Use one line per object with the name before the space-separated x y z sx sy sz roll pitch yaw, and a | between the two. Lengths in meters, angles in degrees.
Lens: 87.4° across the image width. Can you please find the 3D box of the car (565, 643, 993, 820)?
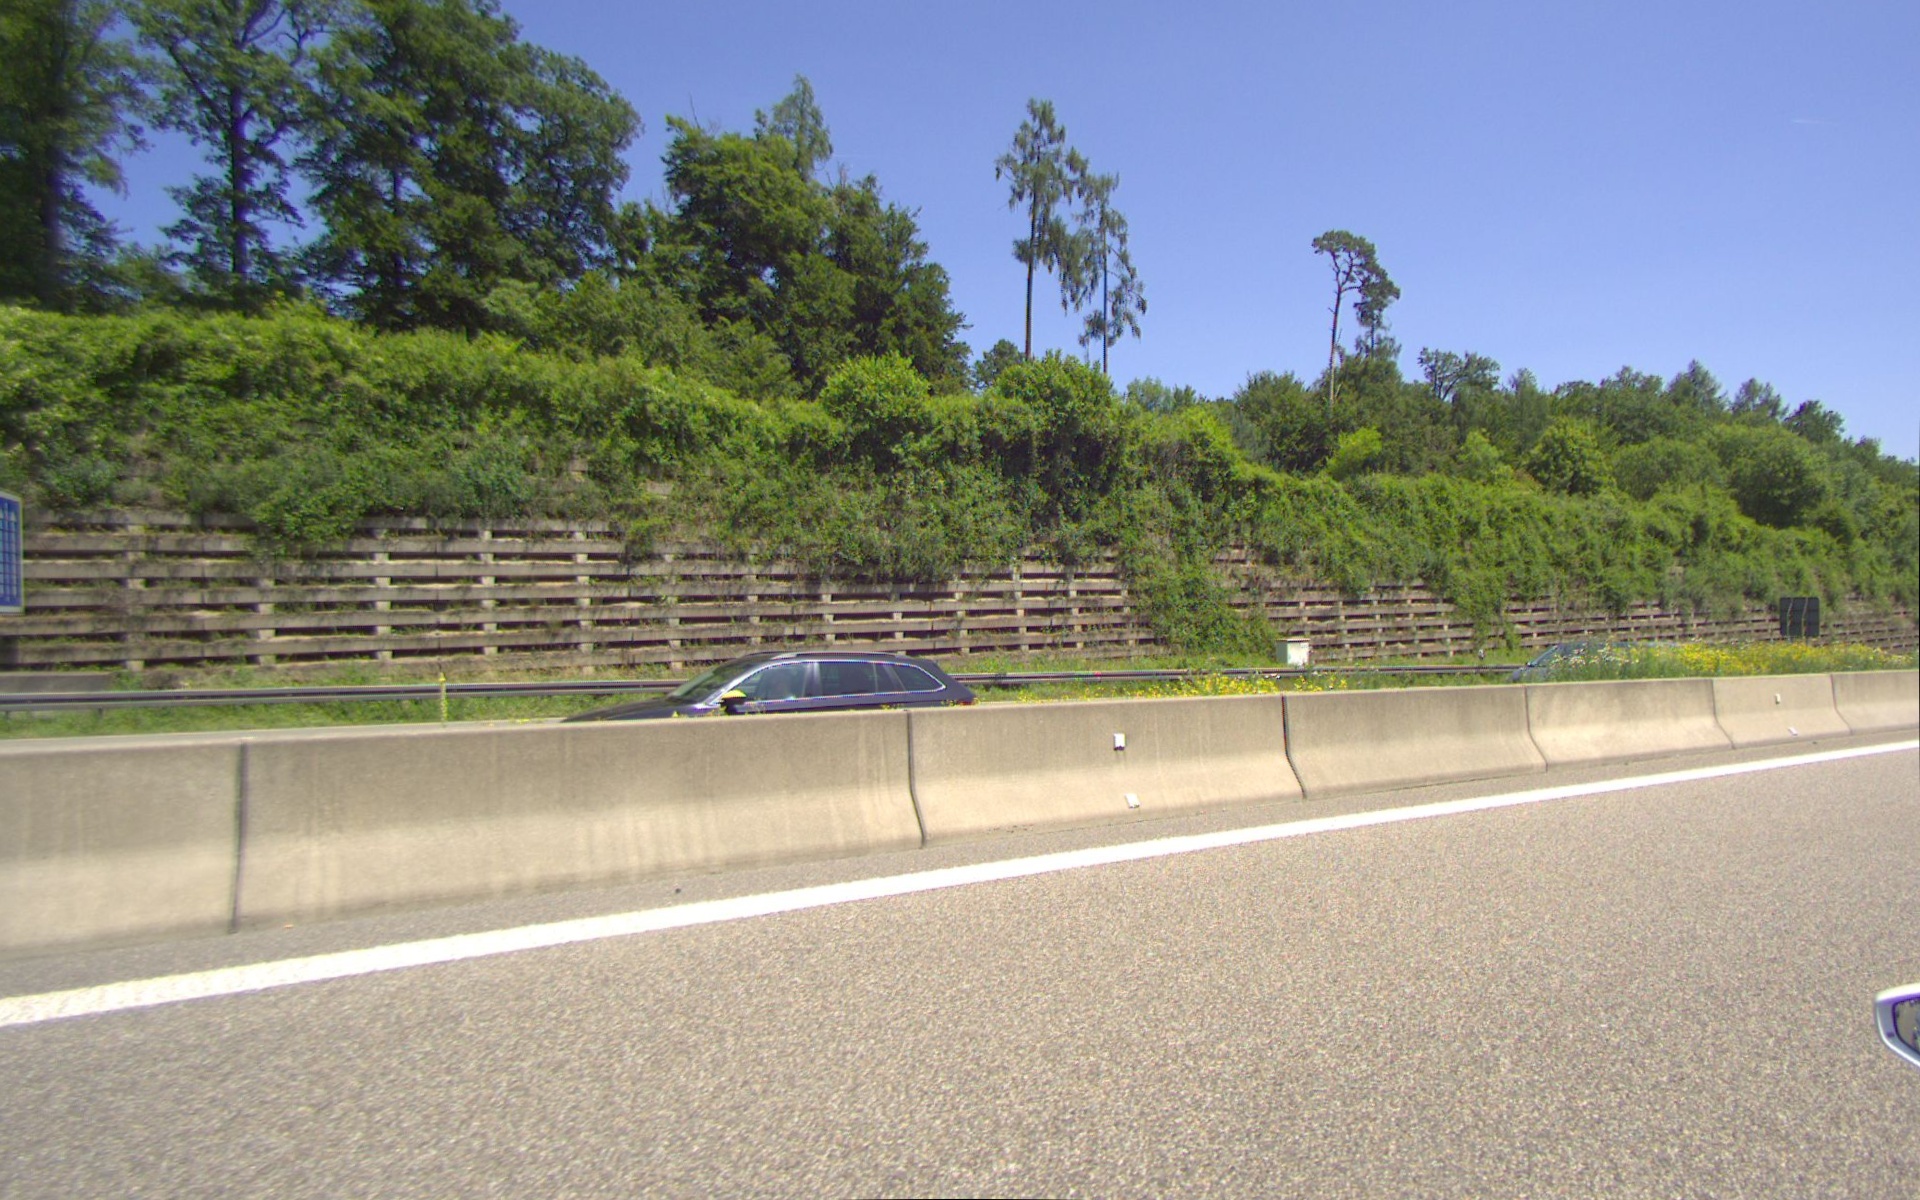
car | -1.957 1.289 11.150 4.320 1.546 1.890 0 -2 -30

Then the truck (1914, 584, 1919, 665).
truck | 51.703 1.250 51.434 5.862 4.084 2.667 1 -1 -31
